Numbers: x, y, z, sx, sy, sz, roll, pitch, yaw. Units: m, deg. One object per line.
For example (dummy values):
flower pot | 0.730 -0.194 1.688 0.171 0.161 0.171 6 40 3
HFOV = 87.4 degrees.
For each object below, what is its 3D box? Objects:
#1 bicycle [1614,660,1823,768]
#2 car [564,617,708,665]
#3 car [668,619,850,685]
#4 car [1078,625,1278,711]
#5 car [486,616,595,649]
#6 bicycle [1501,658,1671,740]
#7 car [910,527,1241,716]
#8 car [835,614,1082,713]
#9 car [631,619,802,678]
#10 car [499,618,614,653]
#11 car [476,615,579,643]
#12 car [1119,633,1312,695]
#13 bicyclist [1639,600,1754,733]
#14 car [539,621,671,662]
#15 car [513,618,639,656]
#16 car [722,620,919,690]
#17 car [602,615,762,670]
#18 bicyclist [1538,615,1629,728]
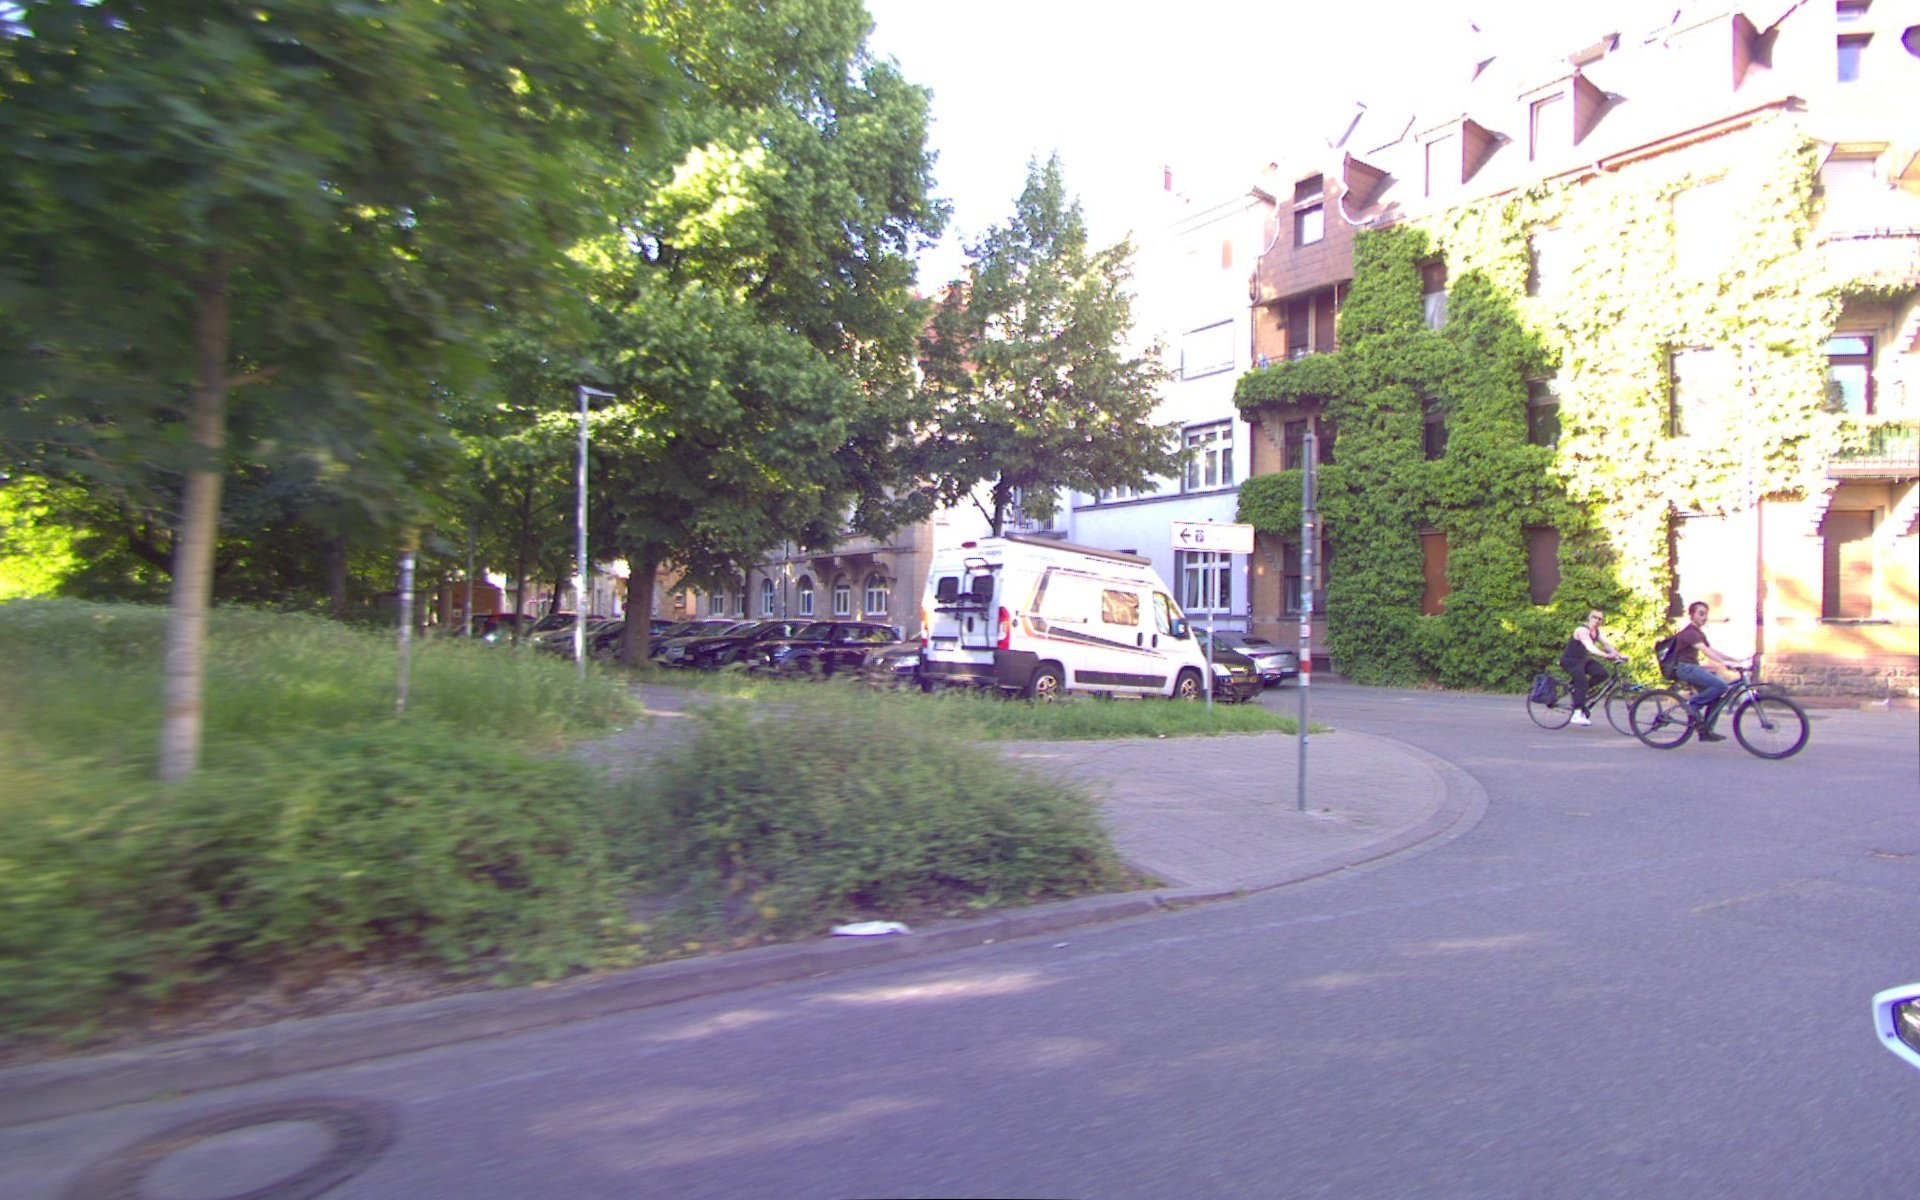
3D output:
bicycle | 9.110 1.328 12.146 0.552 1.087 1.947 -1 1 -38
car | -10.149 1.279 31.583 3.848 1.395 1.956 2 -1 -39
car | -4.803 1.225 24.225 3.848 1.461 1.956 2 -2 -39
car | 4.487 1.350 21.147 1.635 1.611 3.976 0 -2 -38
car | -17.403 1.347 41.755 3.848 1.273 1.765 2 -1 -39
bicycle | 8.956 1.386 14.437 0.693 1.087 1.944 2 -4 -43
car | 2.079 0.395 16.756 5.584 2.649 2.214 2 -1 -39
car | 0.045 1.115 18.537 4.264 1.596 1.956 2 -1 -39
car | -6.299 1.238 26.109 3.848 1.395 1.956 2 -1 -39
car | -15.768 1.408 39.321 3.848 1.273 1.765 2 -1 -39
car | -19.013 1.281 44.212 3.848 1.170 1.765 2 -1 -39
car | 6.693 1.630 26.805 1.866 1.423 4.872 0 -1 -38
bicyclist | 8.975 0.784 12.253 0.714 1.547 0.961 2 -1 -38
car | -11.966 1.400 33.941 3.848 1.273 1.765 2 -1 -39
car | -13.718 1.331 35.950 3.848 1.273 1.765 2 -1 -39
car | -3.018 1.174 22.058 3.848 1.359 1.956 2 -1 -39
car | -7.739 1.185 28.097 3.848 1.395 1.956 2 -1 -39
bicyclist | 8.981 1.004 14.475 0.704 1.547 0.959 2 -1 -44
